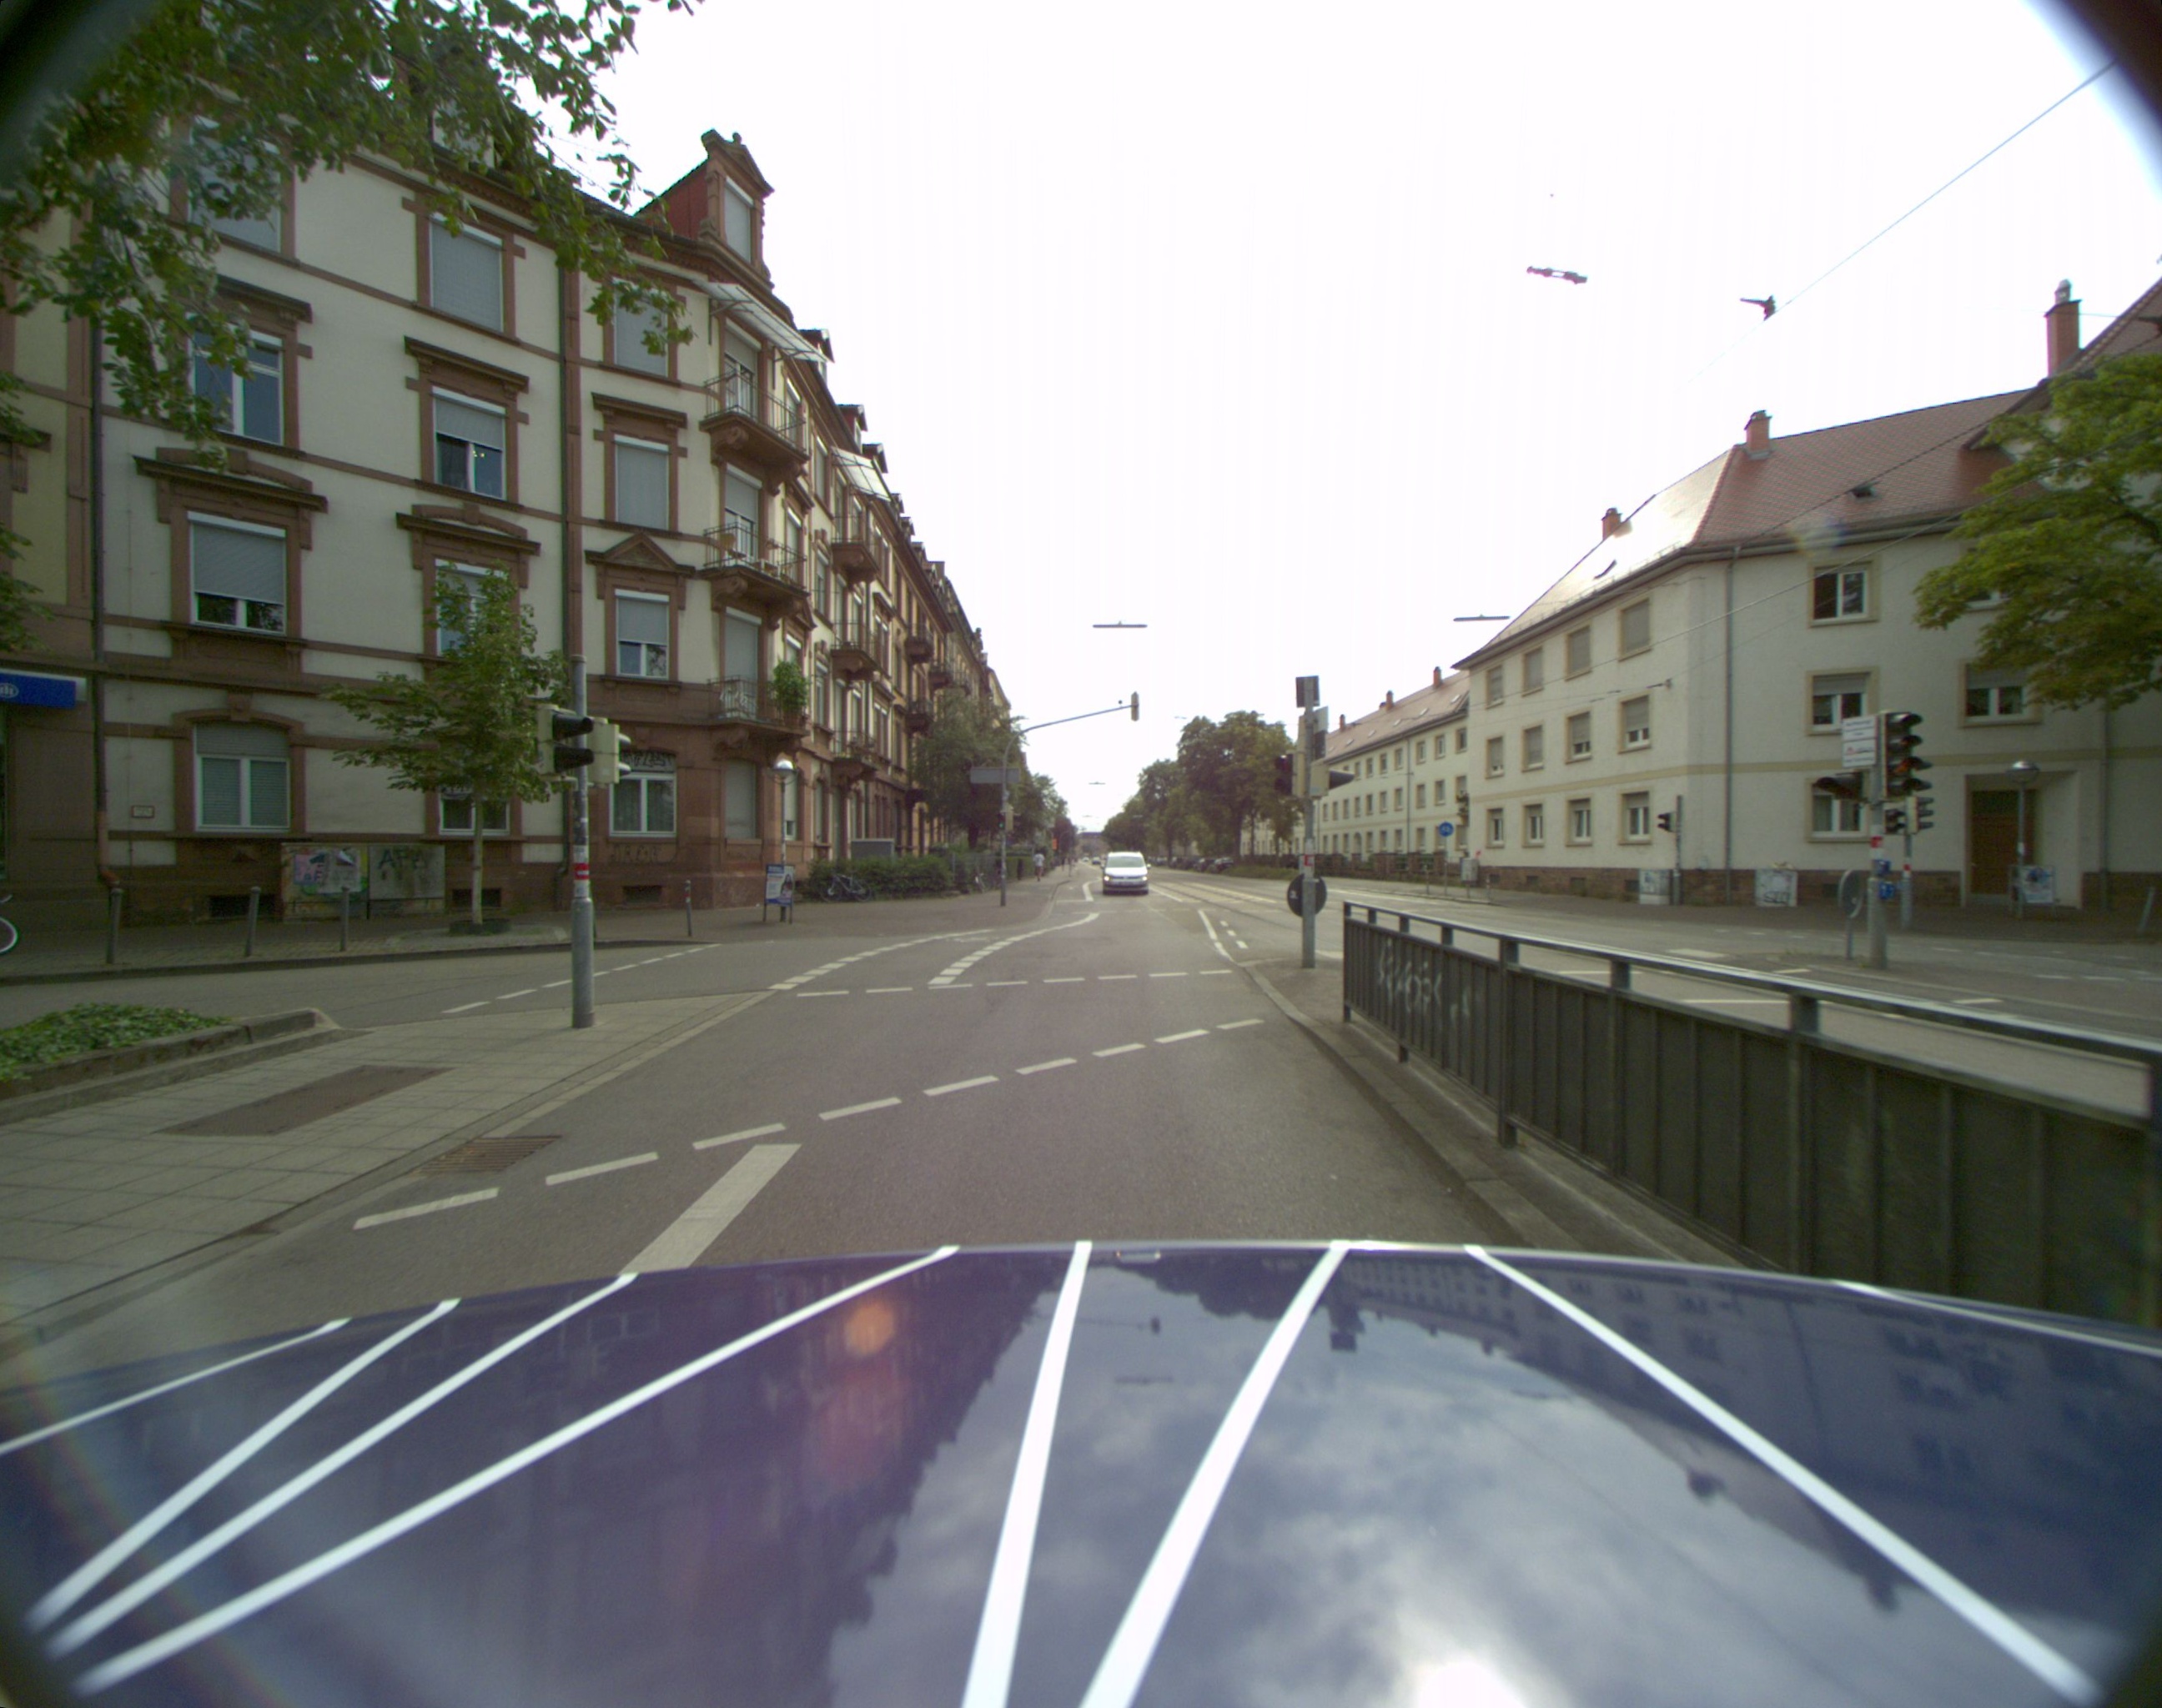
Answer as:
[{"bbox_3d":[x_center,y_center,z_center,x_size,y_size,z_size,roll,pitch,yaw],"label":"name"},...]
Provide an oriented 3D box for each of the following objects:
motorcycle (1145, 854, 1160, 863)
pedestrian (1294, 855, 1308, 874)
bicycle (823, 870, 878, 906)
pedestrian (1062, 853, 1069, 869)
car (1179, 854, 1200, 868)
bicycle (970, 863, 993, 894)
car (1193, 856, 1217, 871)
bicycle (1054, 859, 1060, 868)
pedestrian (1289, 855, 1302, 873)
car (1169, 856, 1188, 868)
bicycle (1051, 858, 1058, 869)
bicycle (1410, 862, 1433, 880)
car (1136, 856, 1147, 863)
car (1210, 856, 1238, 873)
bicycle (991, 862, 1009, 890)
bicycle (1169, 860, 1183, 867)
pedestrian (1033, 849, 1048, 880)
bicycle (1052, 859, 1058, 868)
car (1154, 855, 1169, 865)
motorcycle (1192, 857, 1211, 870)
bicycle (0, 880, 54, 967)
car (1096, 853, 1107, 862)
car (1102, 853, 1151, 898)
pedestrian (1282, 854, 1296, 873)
[{"bbox_3d":[12.628,0.822,134.113,2.311,1.382,0.838,-5,1,31],"label":"motorcycle"},{"bbox_3d":[17.237,0.806,59.510,0.835,1.456,0.732,0,0,-6],"label":"pedestrian"},{"bbox_3d":[-6.654,0.966,22.011,0.509,0.964,1.553,1,0,32],"label":"bicycle"},{"bbox_3d":[-1.584,0.678,76.909,0.732,1.614,0.835,0,0,-1],"label":"pedestrian"},{"bbox_3d":[12.808,0.773,89.776,1.790,1.602,4.299,0,0,0],"label":"car"},{"bbox_3d":[-3.789,0.917,29.012,0.672,1.100,1.672,0,0,0],"label":"bicycle"},{"bbox_3d":[12.780,0.963,78.429,1.701,1.415,4.299,-1,0,0],"label":"car"},{"bbox_3d":[-2.737,1.046,86.938,0.580,0.977,1.672,4,0,-1],"label":"bicycle"},{"bbox_3d":[17.127,0.803,60.660,0.835,1.456,0.732,0,0,-6],"label":"pedestrian"},{"bbox_3d":[12.734,1.013,99.249,1.701,1.462,4.299,0,0,-3],"label":"car"},{"bbox_3d":[-2.643,0.939,75.439,0.580,1.105,1.672,4,0,-1],"label":"bicycle"},{"bbox_3d":[18.771,0.930,41.903,0.479,0.910,1.672,0,0,0],"label":"bicycle"},{"bbox_3d":[12.396,1.168,155.863,1.732,1.462,4.299,0,0,-3],"label":"car"},{"bbox_3d":[13.205,0.957,70.381,1.701,1.415,4.299,-3,0,0],"label":"car"},{"bbox_3d":[-3.370,0.894,31.734,0.510,1.082,1.550,3,0,0],"label":"bicycle"},{"bbox_3d":[12.984,1.255,103.890,1.672,0.965,0.672,0,0,-9],"label":"bicycle"},{"bbox_3d":[-2.258,0.570,42.754,0.732,1.744,0.950,0,0,4],"label":"pedestrian"},{"bbox_3d":[-2.767,1.007,81.047,0.580,0.977,1.672,4,0,-1],"label":"bicycle"},{"bbox_3d":[12.589,0.911,118.353,1.701,1.462,4.298,0,0,-3],"label":"car"},{"bbox_3d":[13.064,1.068,82.376,1.871,1.253,0.591,-5,1,-4],"label":"motorcycle"},{"bbox_3d":[-15.134,0.924,10.159,1.672,1.137,0.672,0,0,-9],"label":"bicycle"},{"bbox_3d":[3.904,0.564,144.354,1.946,1.675,4.001,0,0,4],"label":"car"},{"bbox_3d":[1.929,0.819,31.608,1.875,1.670,5.133,0,0,4],"label":"car"},{"bbox_3d":[17.056,0.759,62.282,0.835,1.503,0.732,0,0,-6],"label":"pedestrian"}]
